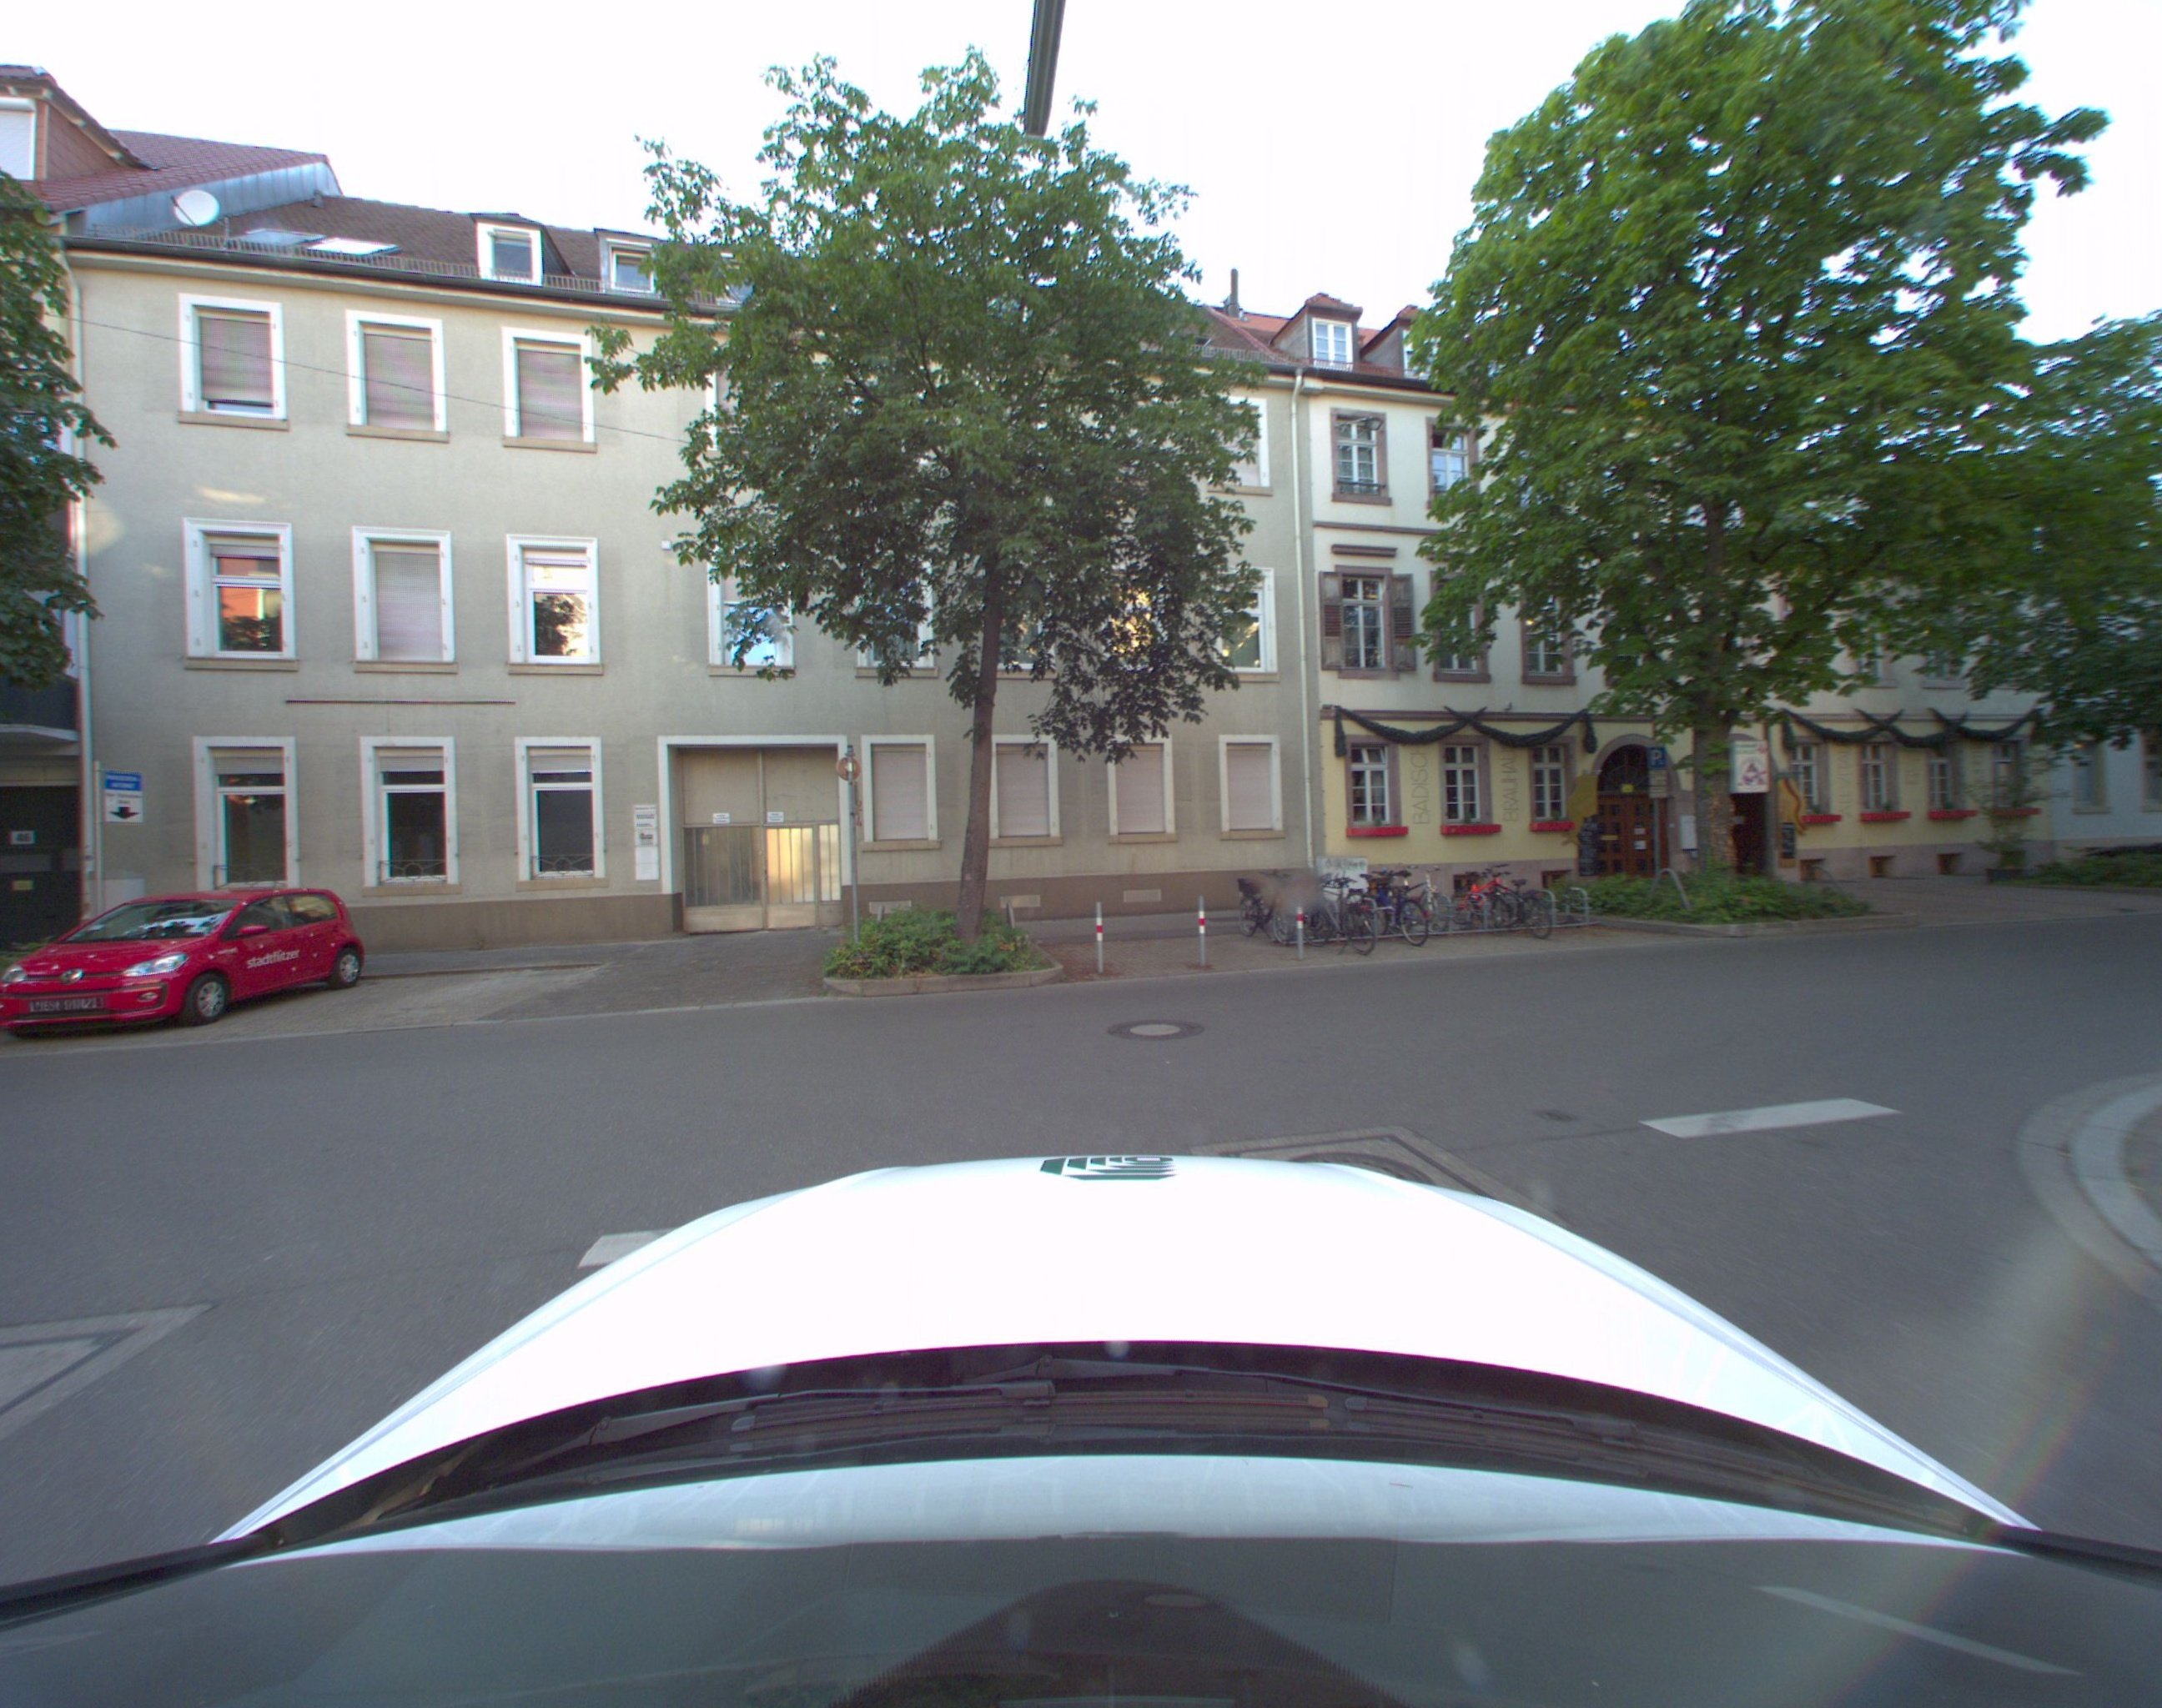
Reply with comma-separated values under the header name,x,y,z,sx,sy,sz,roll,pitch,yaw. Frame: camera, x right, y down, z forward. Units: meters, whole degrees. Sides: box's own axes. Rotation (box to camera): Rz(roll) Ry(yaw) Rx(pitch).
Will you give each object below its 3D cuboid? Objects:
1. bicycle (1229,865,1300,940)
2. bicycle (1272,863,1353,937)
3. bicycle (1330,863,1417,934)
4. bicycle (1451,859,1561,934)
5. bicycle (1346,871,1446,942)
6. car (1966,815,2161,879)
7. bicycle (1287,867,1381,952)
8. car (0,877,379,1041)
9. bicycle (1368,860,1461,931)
name,x,y,z,sx,sy,sz,roll,pitch,yaw
bicycle,3.073,0.774,13.825,0.444,1.145,2.037,-2,0,-8
bicycle,3.961,0.751,14.120,0.420,1.145,2.034,-2,0,-12
bicycle,5.141,0.743,14.442,0.420,1.145,2.034,-2,0,-12
bicycle,7.109,0.671,13.747,0.420,1.145,2.034,-2,0,-12
bicycle,4.963,0.792,12.992,0.420,1.004,2.034,-2,0,-12
car,26.025,-0.174,20.758,1.771,1.505,4.430,-2,0,-10
bicycle,3.795,0.794,12.394,0.445,1.145,2.035,-2,0,-10
car,-10.787,1.115,10.113,1.562,1.475,3.651,-2,1,-13
bicycle,5.884,0.697,14.505,0.420,1.145,2.034,-2,0,-12
